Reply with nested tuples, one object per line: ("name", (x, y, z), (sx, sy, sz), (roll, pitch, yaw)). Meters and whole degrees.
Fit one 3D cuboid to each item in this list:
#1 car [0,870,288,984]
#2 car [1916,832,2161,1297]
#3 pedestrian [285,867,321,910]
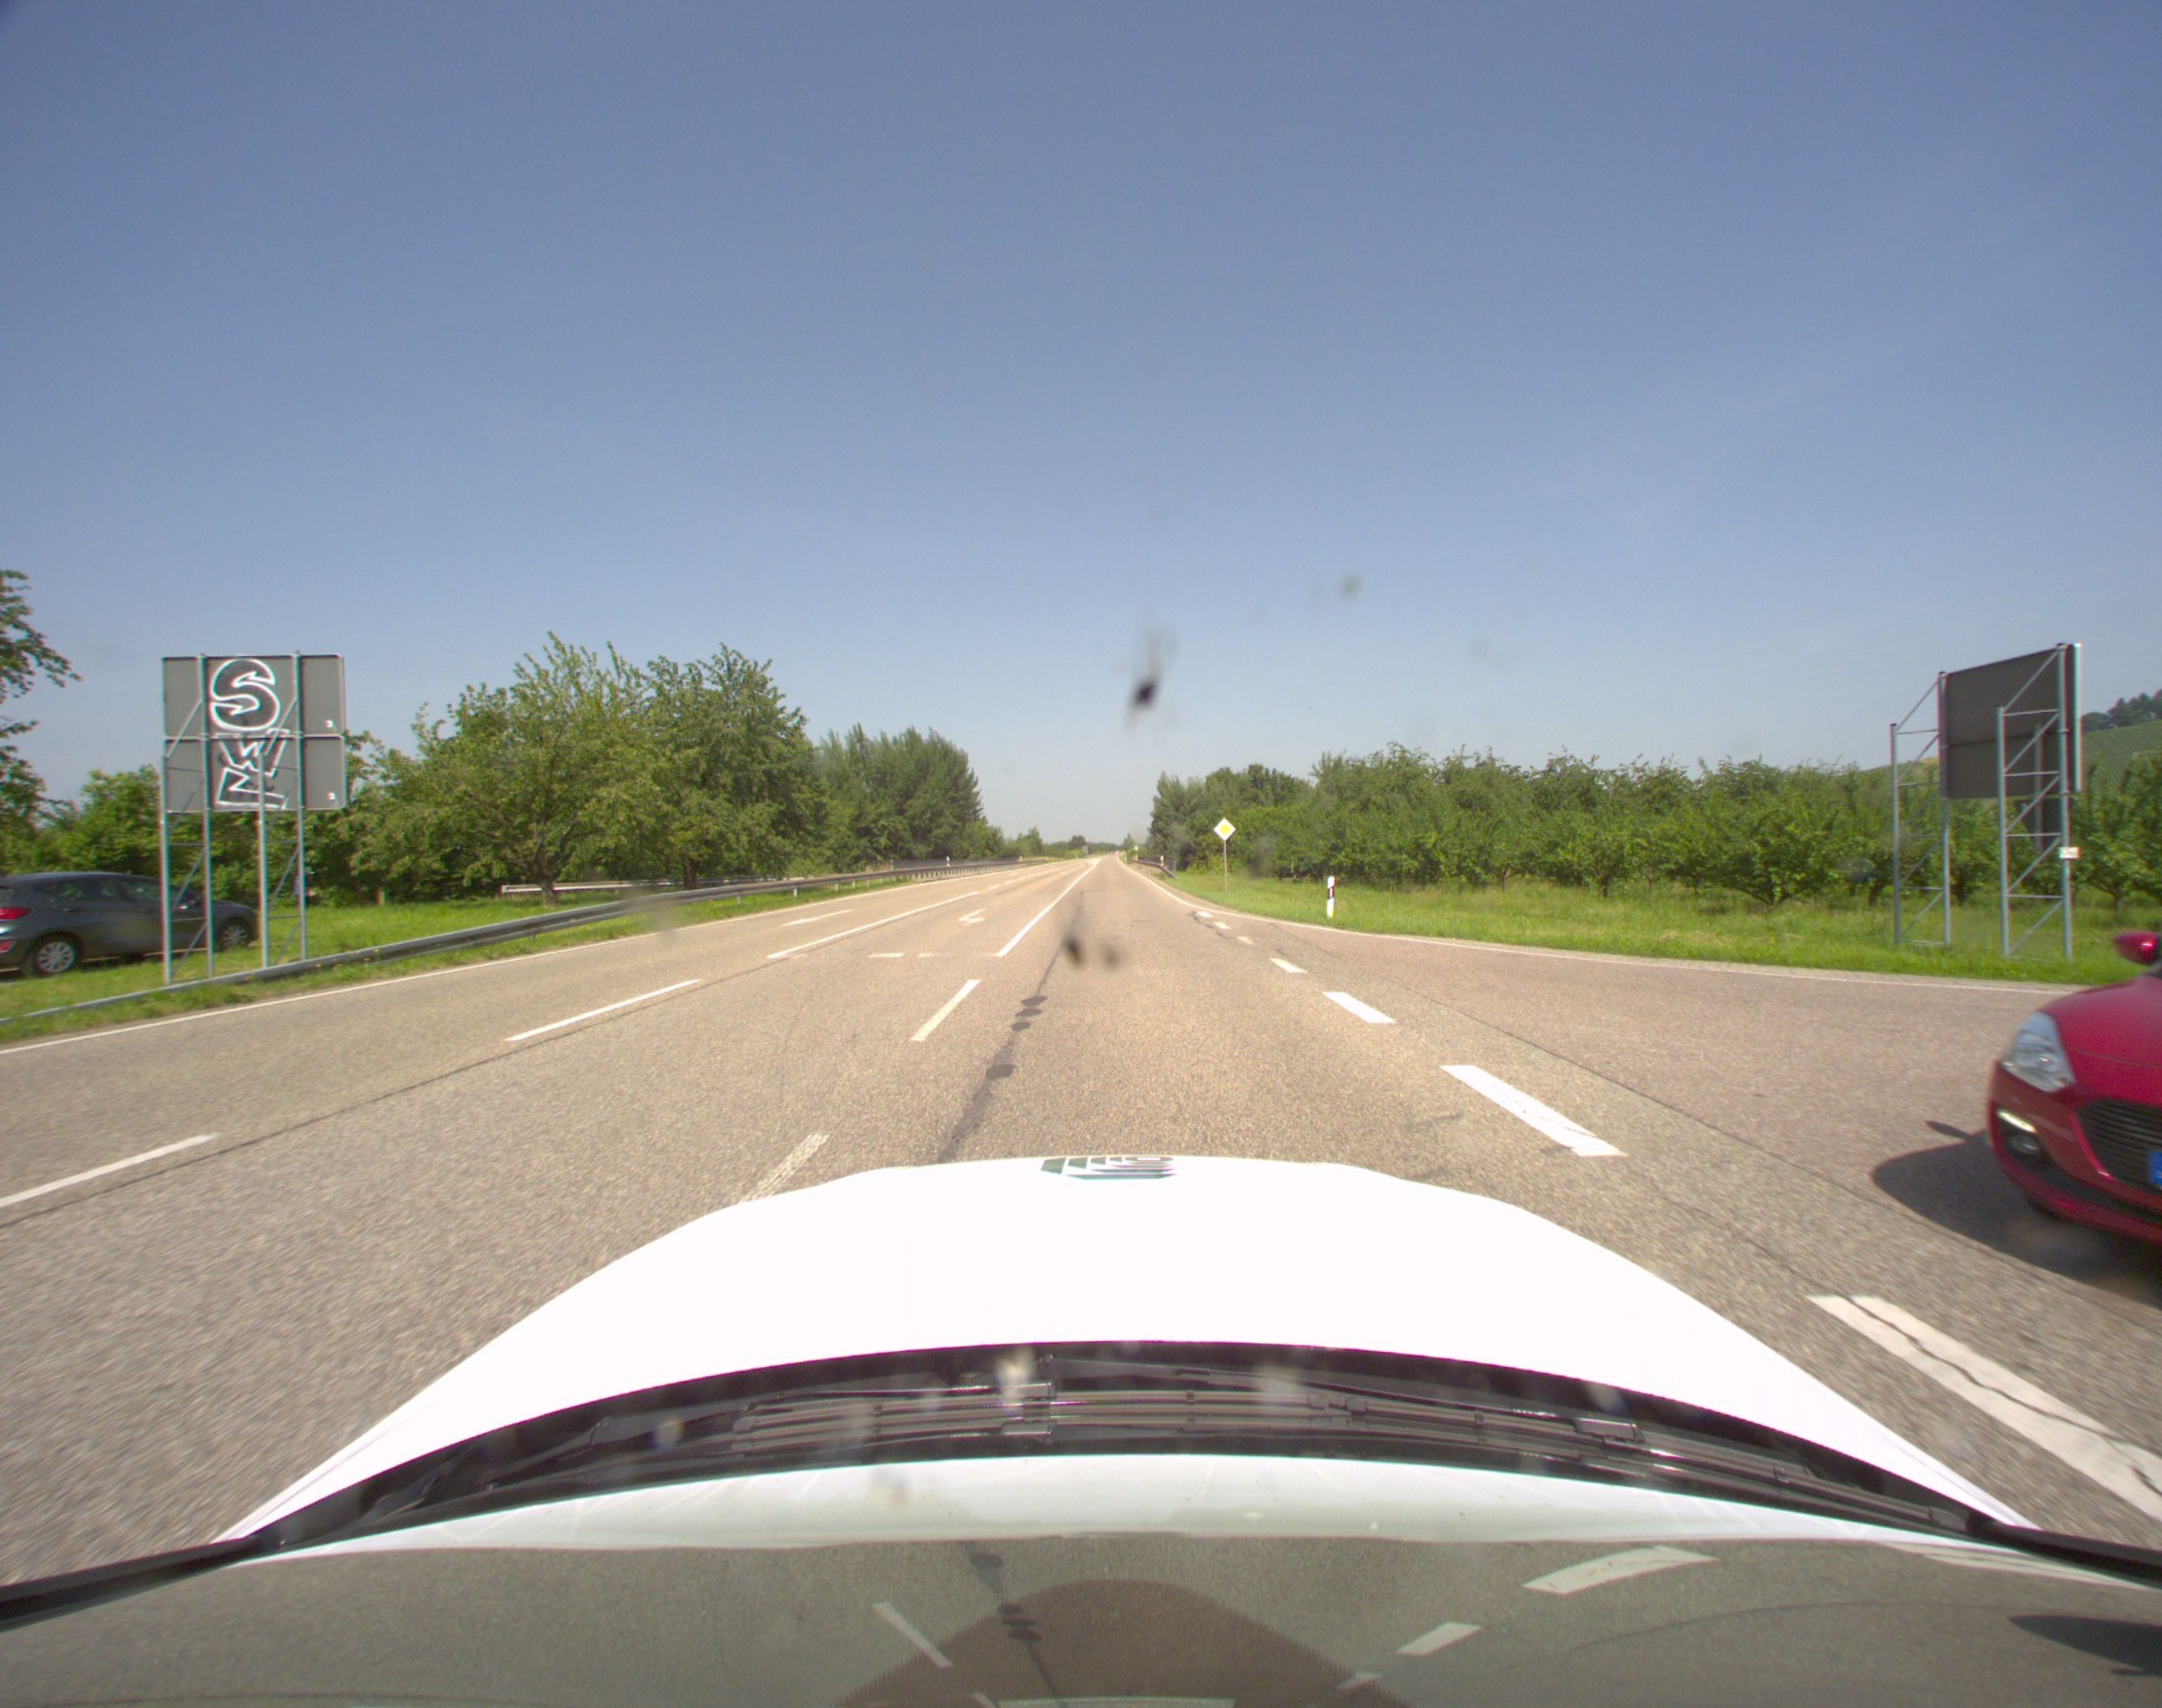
("car", (-15.221, 1.028, 12.783), (1.700, 1.423, 4.039), (-2, 0, -3))
("car", (5.313, 0.654, 2.943), (3.748, 1.493, 1.662), (-1, 0, -17))
("pedestrian", (-24.444, 1.081, 25.581), (0.571, 1.297, 0.556), (-1, 0, 3))
